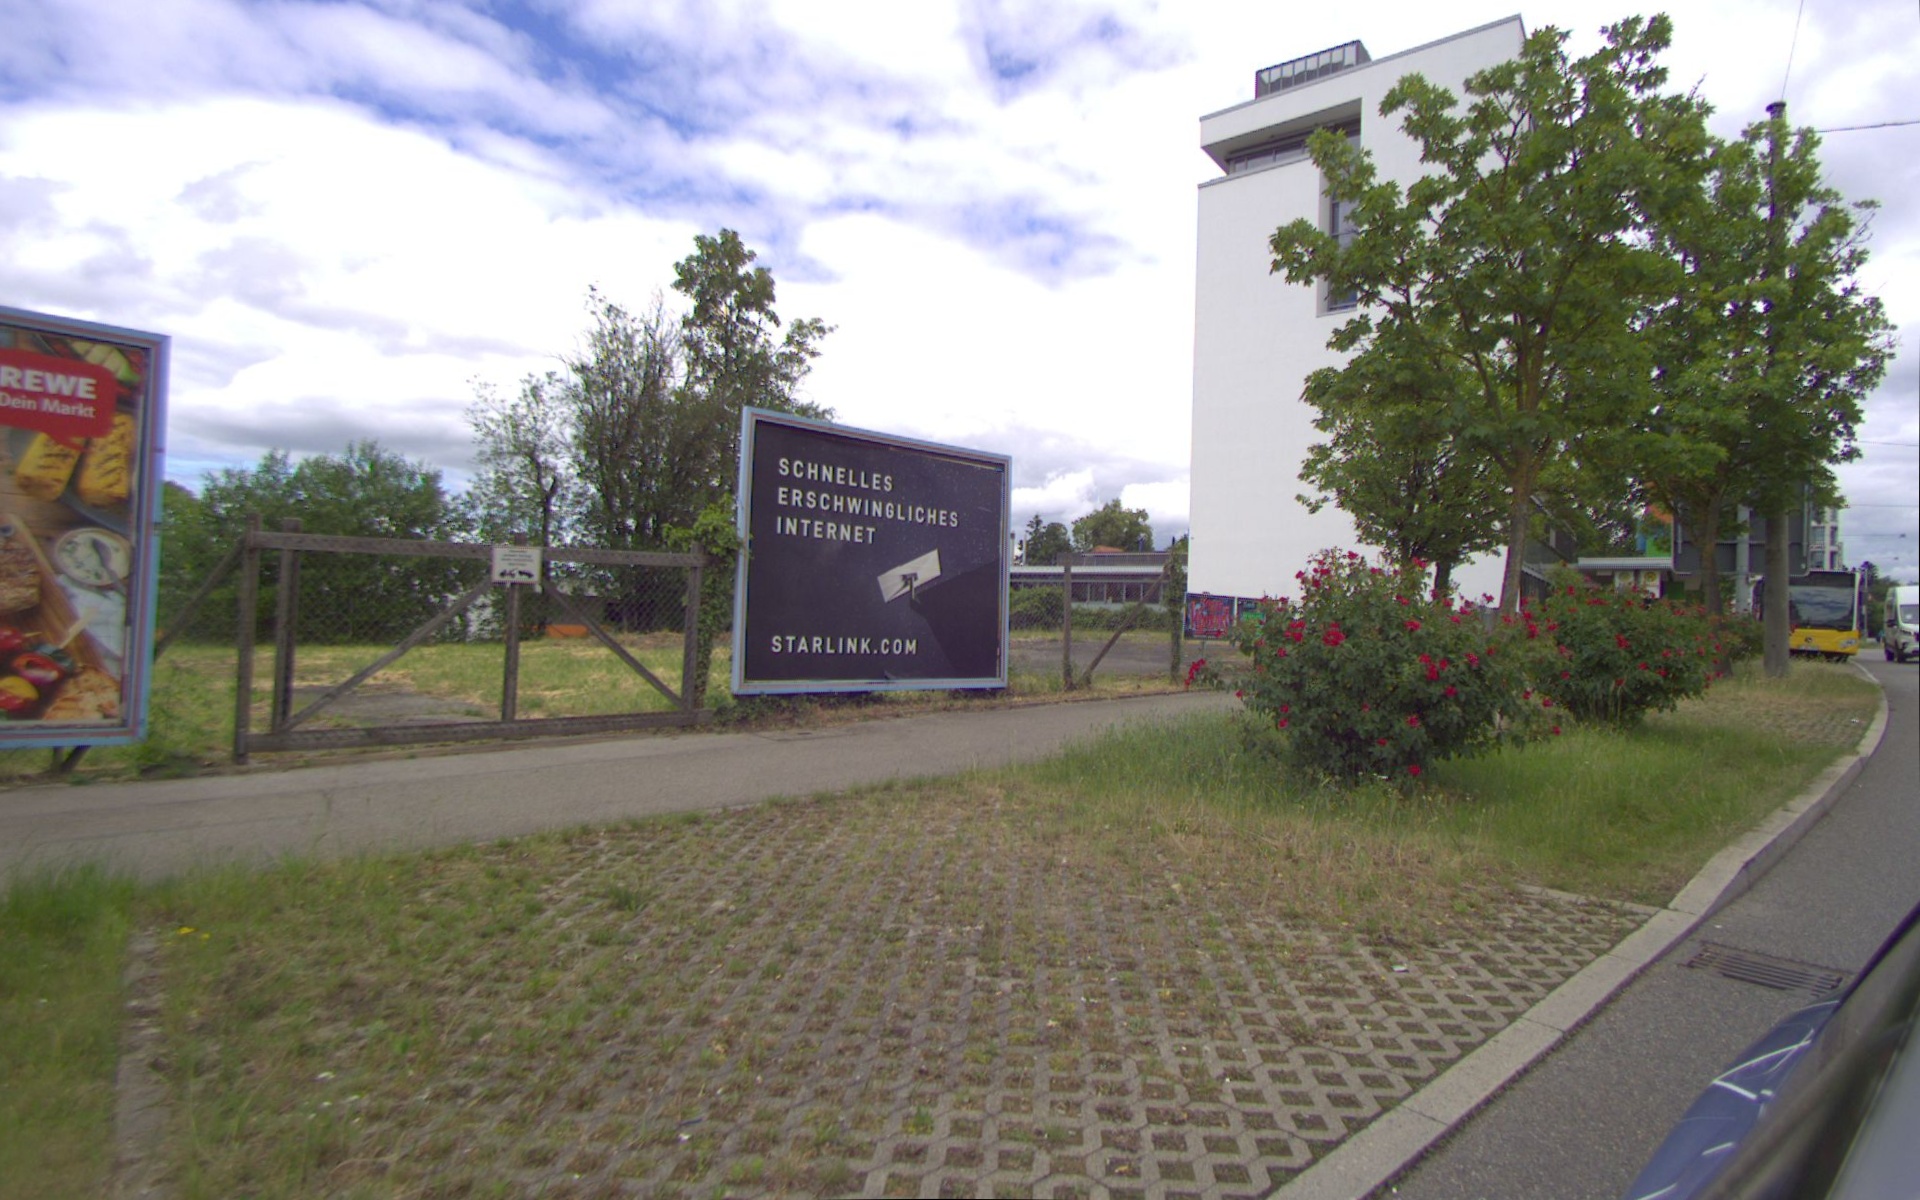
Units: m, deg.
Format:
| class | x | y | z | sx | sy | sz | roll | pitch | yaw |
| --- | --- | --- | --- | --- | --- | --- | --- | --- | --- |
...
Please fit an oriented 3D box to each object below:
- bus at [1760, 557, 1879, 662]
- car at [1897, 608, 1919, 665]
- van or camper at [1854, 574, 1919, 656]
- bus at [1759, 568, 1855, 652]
| class | x | y | z | sx | sy | sz | roll | pitch | yaw |
| --- | --- | --- | --- | --- | --- | --- | --- | --- | --- |
| bus | 30.419 | 0.349 | 36.111 | 2.708 | 3.203 | 8.999 | 4 | 1 | 38 |
| car | 26.807 | 1.016 | 26.688 | 1.844 | 1.544 | 3.967 | 1 | 0 | 24 |
| van or camper | 34.500 | 0.584 | 36.318 | 2.263 | 2.740 | 6.918 | 1 | 0 | 30 |
| bus | 35.890 | 0.457 | 43.138 | 2.707 | 3.147 | 8.746 | 3 | 1 | 38 |
